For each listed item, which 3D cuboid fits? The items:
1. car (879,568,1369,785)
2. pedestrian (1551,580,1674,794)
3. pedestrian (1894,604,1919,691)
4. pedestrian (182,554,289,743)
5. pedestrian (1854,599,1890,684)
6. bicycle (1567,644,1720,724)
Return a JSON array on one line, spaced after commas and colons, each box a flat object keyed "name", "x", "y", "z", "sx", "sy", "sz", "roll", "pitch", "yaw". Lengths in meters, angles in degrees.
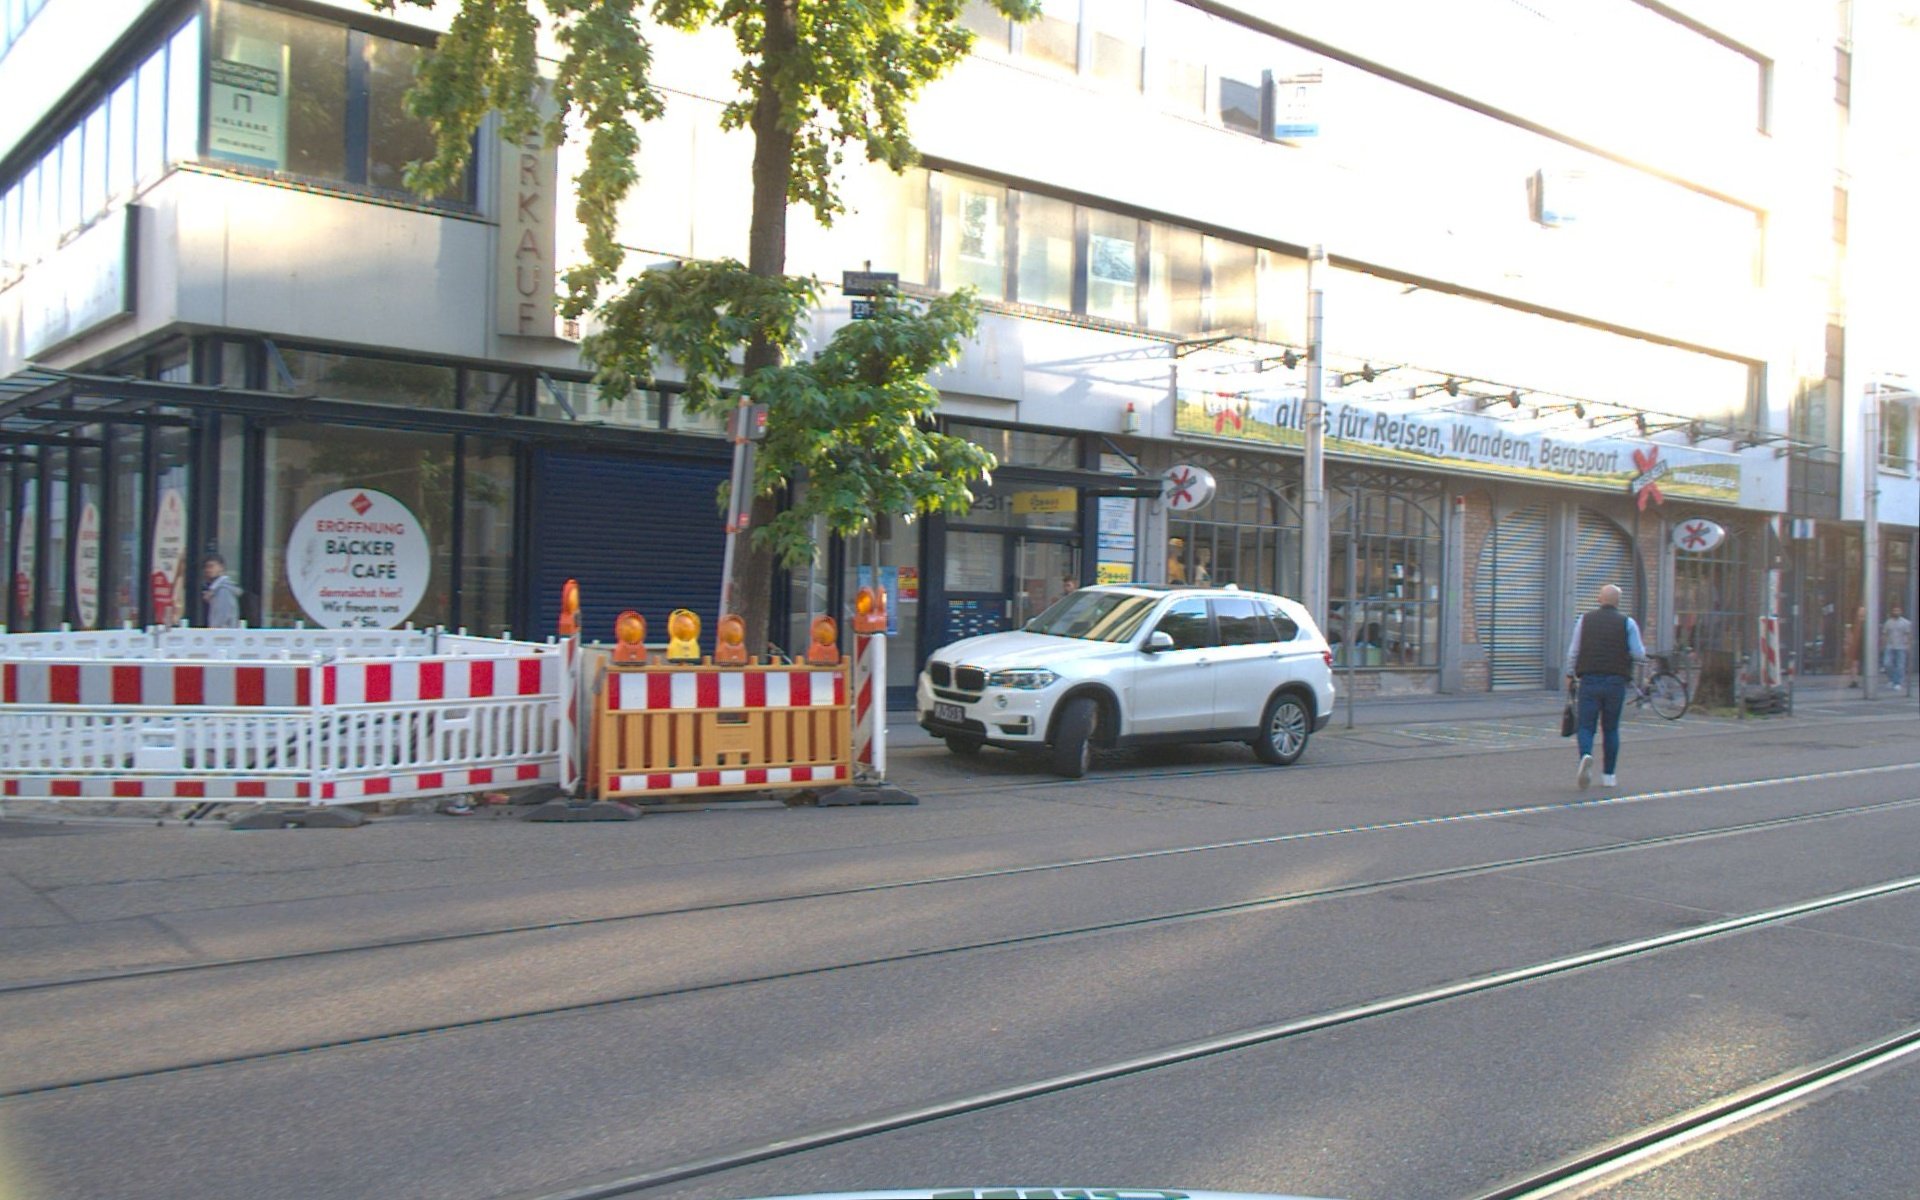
[{"name": "car", "x": 1.763, "y": 0.707, "z": 16.622, "sx": 4.898, "sy": 1.806, "sz": 1.994, "roll": 2, "pitch": 2, "yaw": -40}, {"name": "pedestrian", "x": 5.748, "y": 0.736, "z": 14.626, "sx": 0.785, "sy": 1.807, "sz": 1.073, "roll": 1, "pitch": 0, "yaw": 9}, {"name": "pedestrian", "x": 20.333, "y": 1.004, "z": 35.307, "sx": 0.615, "sy": 1.807, "sz": 0.813, "roll": 1, "pitch": 0, "yaw": 33}, {"name": "pedestrian", "x": -6.230, "y": 0.402, "z": 14.218, "sx": 0.701, "sy": 1.576, "sz": 0.570, "roll": 0, "pitch": 0, "yaw": -42}, {"name": "pedestrian", "x": 19.753, "y": 0.890, "z": 35.825, "sx": 0.615, "sy": 1.807, "sz": 0.813, "roll": 1, "pitch": 0, "yaw": 33}, {"name": "bicycle", "x": 10.187, "y": 1.232, "z": 24.722, "sx": 0.663, "sy": 0.969, "sz": 1.998, "roll": 0, "pitch": 3, "yaw": -40}]
